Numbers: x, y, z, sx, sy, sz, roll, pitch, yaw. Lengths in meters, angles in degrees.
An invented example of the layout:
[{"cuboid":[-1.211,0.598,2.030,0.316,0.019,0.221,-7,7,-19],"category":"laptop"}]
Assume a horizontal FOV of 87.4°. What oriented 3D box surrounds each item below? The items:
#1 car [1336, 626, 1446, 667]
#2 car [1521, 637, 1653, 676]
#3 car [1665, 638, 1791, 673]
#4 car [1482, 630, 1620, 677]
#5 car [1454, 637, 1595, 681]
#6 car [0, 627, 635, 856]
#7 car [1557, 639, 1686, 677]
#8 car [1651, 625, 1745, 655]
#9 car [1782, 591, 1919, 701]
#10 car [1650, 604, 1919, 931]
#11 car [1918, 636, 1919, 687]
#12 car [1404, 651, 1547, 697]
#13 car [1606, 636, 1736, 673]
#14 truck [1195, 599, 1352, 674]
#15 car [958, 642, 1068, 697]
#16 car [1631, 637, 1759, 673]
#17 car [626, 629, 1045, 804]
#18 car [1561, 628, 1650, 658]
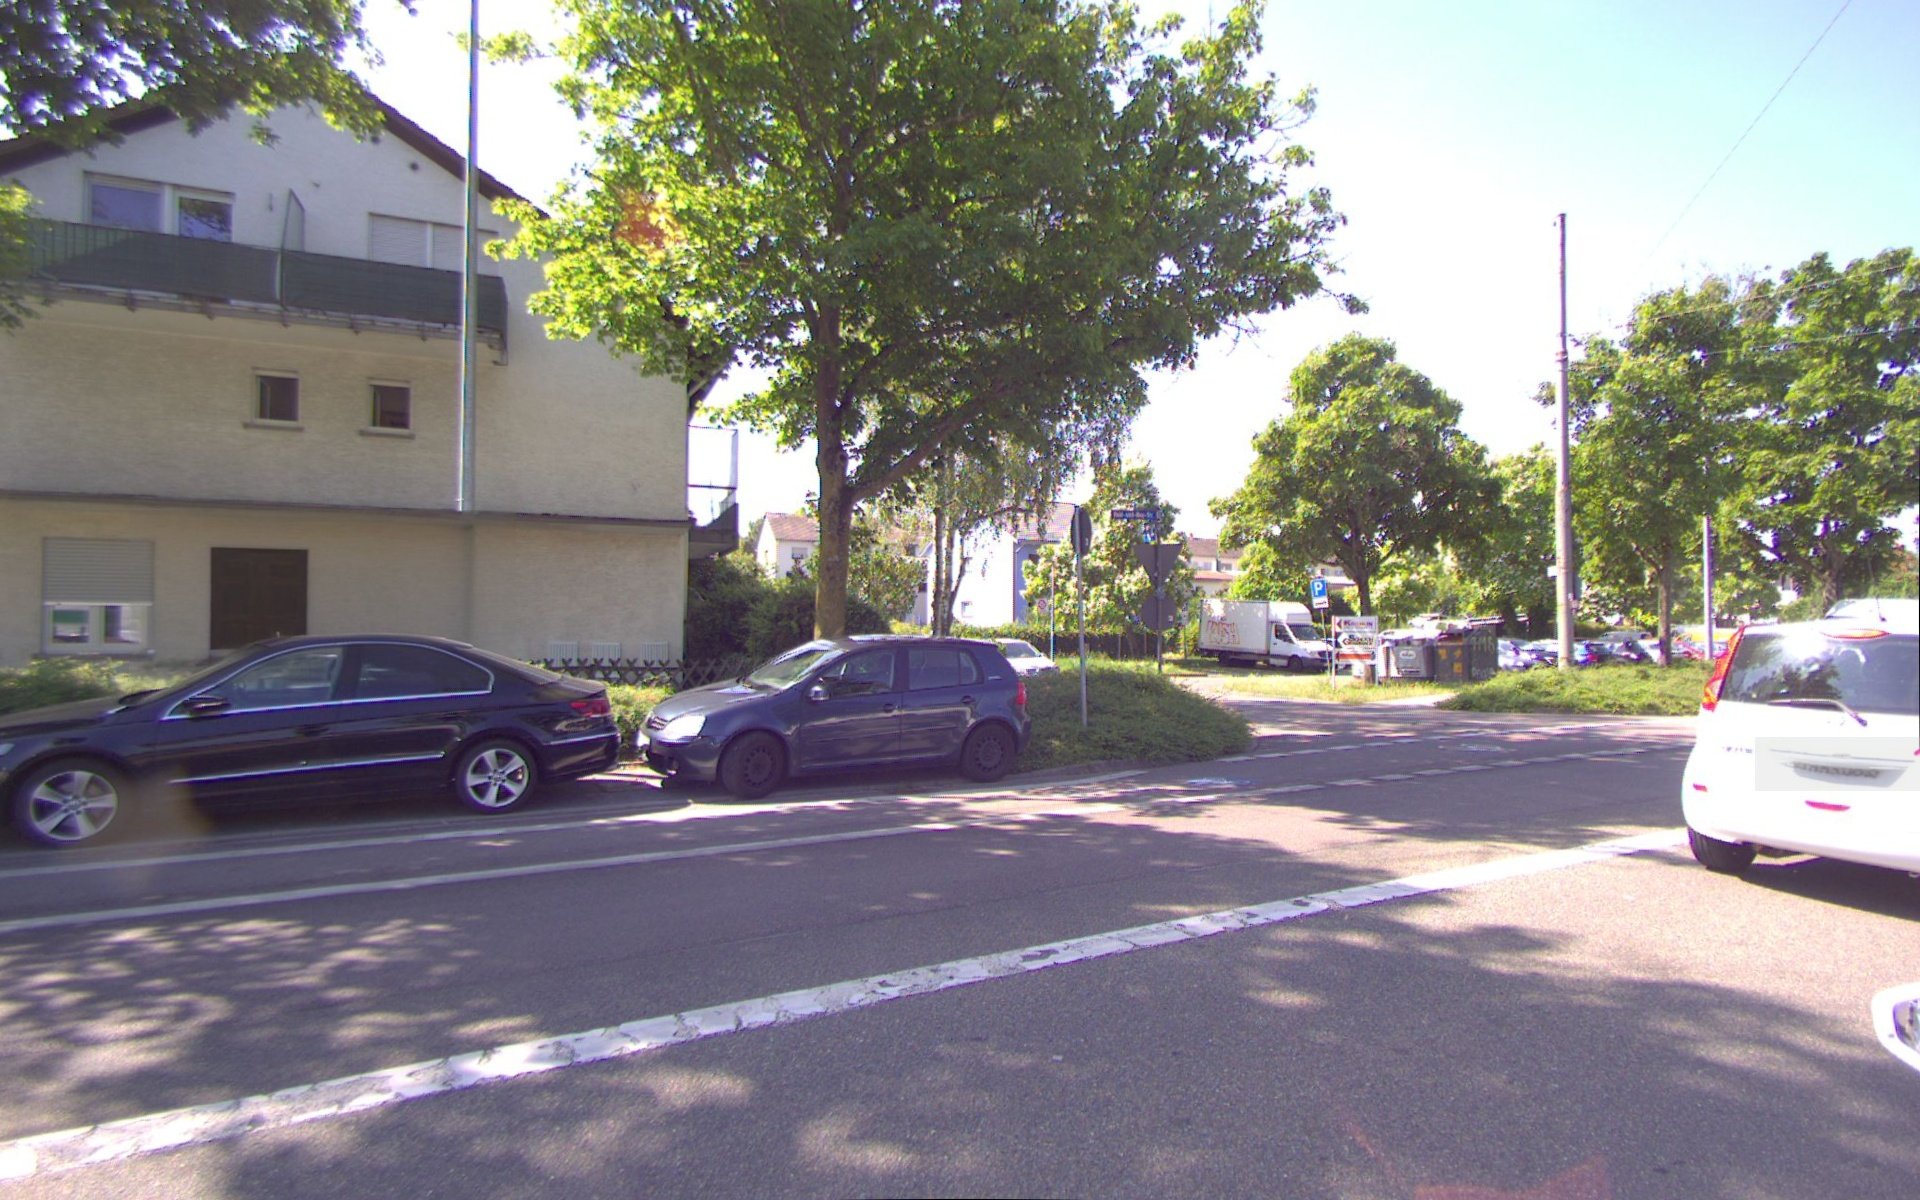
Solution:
[{"cuboid":[21.683,2.299,50.719,2.043,1.811,4.762,2,0,-34],"category":"car"},{"cuboid":[24.035,2.183,38.638,1.712,1.434,3.964,2,-4,-33],"category":"car"},{"cuboid":[33.154,2.418,43.466,1.712,1.434,3.964,2,-4,-33],"category":"car"},{"cuboid":[21.407,1.948,36.517,1.712,1.631,3.964,2,-4,-33],"category":"car"},{"cuboid":[19.624,2.050,35.088,1.712,1.434,3.964,2,-4,-33],"category":"car"},{"cuboid":[-5.246,0.993,8.336,4.568,1.434,1.854,1,0,-31],"category":"car"},{"cuboid":[26.343,2.304,40.106,1.712,1.434,3.964,2,-4,-33],"category":"car"},{"cuboid":[50.476,2.735,68.772,2.043,1.811,4.762,2,0,-34],"category":"car"},{"cuboid":[23.788,1.119,25.785,5.745,2.550,2.114,1,0,-29],"category":"car"},{"cuboid":[6.388,0.848,6.257,4.491,1.568,1.655,1,-1,-29],"category":"car"},{"cuboid":[29.448,1.797,28.748,4.230,1.434,1.854,1,0,-31],"category":"car"},{"cuboid":[17.316,2.468,33.908,1.712,1.434,3.964,2,-4,-33],"category":"car"},{"cuboid":[28.756,2.215,40.749,1.712,1.434,3.964,2,-4,-33],"category":"car"},{"cuboid":[14.433,1.593,46.799,2.646,3.152,6.967,1,0,-30],"category":"truck"},{"cuboid":[1.406,1.934,28.444,1.704,1.434,3.983,1,-3,-20],"category":"car"},{"cuboid":[30.732,2.307,42.095,1.712,1.434,3.964,2,-4,-33],"category":"car"},{"cuboid":[-1.265,1.082,10.467,3.988,1.462,1.718,1,0,-28],"category":"car"},{"cuboid":[44.503,2.954,69.311,2.043,1.811,4.762,2,0,-34],"category":"car"}]
